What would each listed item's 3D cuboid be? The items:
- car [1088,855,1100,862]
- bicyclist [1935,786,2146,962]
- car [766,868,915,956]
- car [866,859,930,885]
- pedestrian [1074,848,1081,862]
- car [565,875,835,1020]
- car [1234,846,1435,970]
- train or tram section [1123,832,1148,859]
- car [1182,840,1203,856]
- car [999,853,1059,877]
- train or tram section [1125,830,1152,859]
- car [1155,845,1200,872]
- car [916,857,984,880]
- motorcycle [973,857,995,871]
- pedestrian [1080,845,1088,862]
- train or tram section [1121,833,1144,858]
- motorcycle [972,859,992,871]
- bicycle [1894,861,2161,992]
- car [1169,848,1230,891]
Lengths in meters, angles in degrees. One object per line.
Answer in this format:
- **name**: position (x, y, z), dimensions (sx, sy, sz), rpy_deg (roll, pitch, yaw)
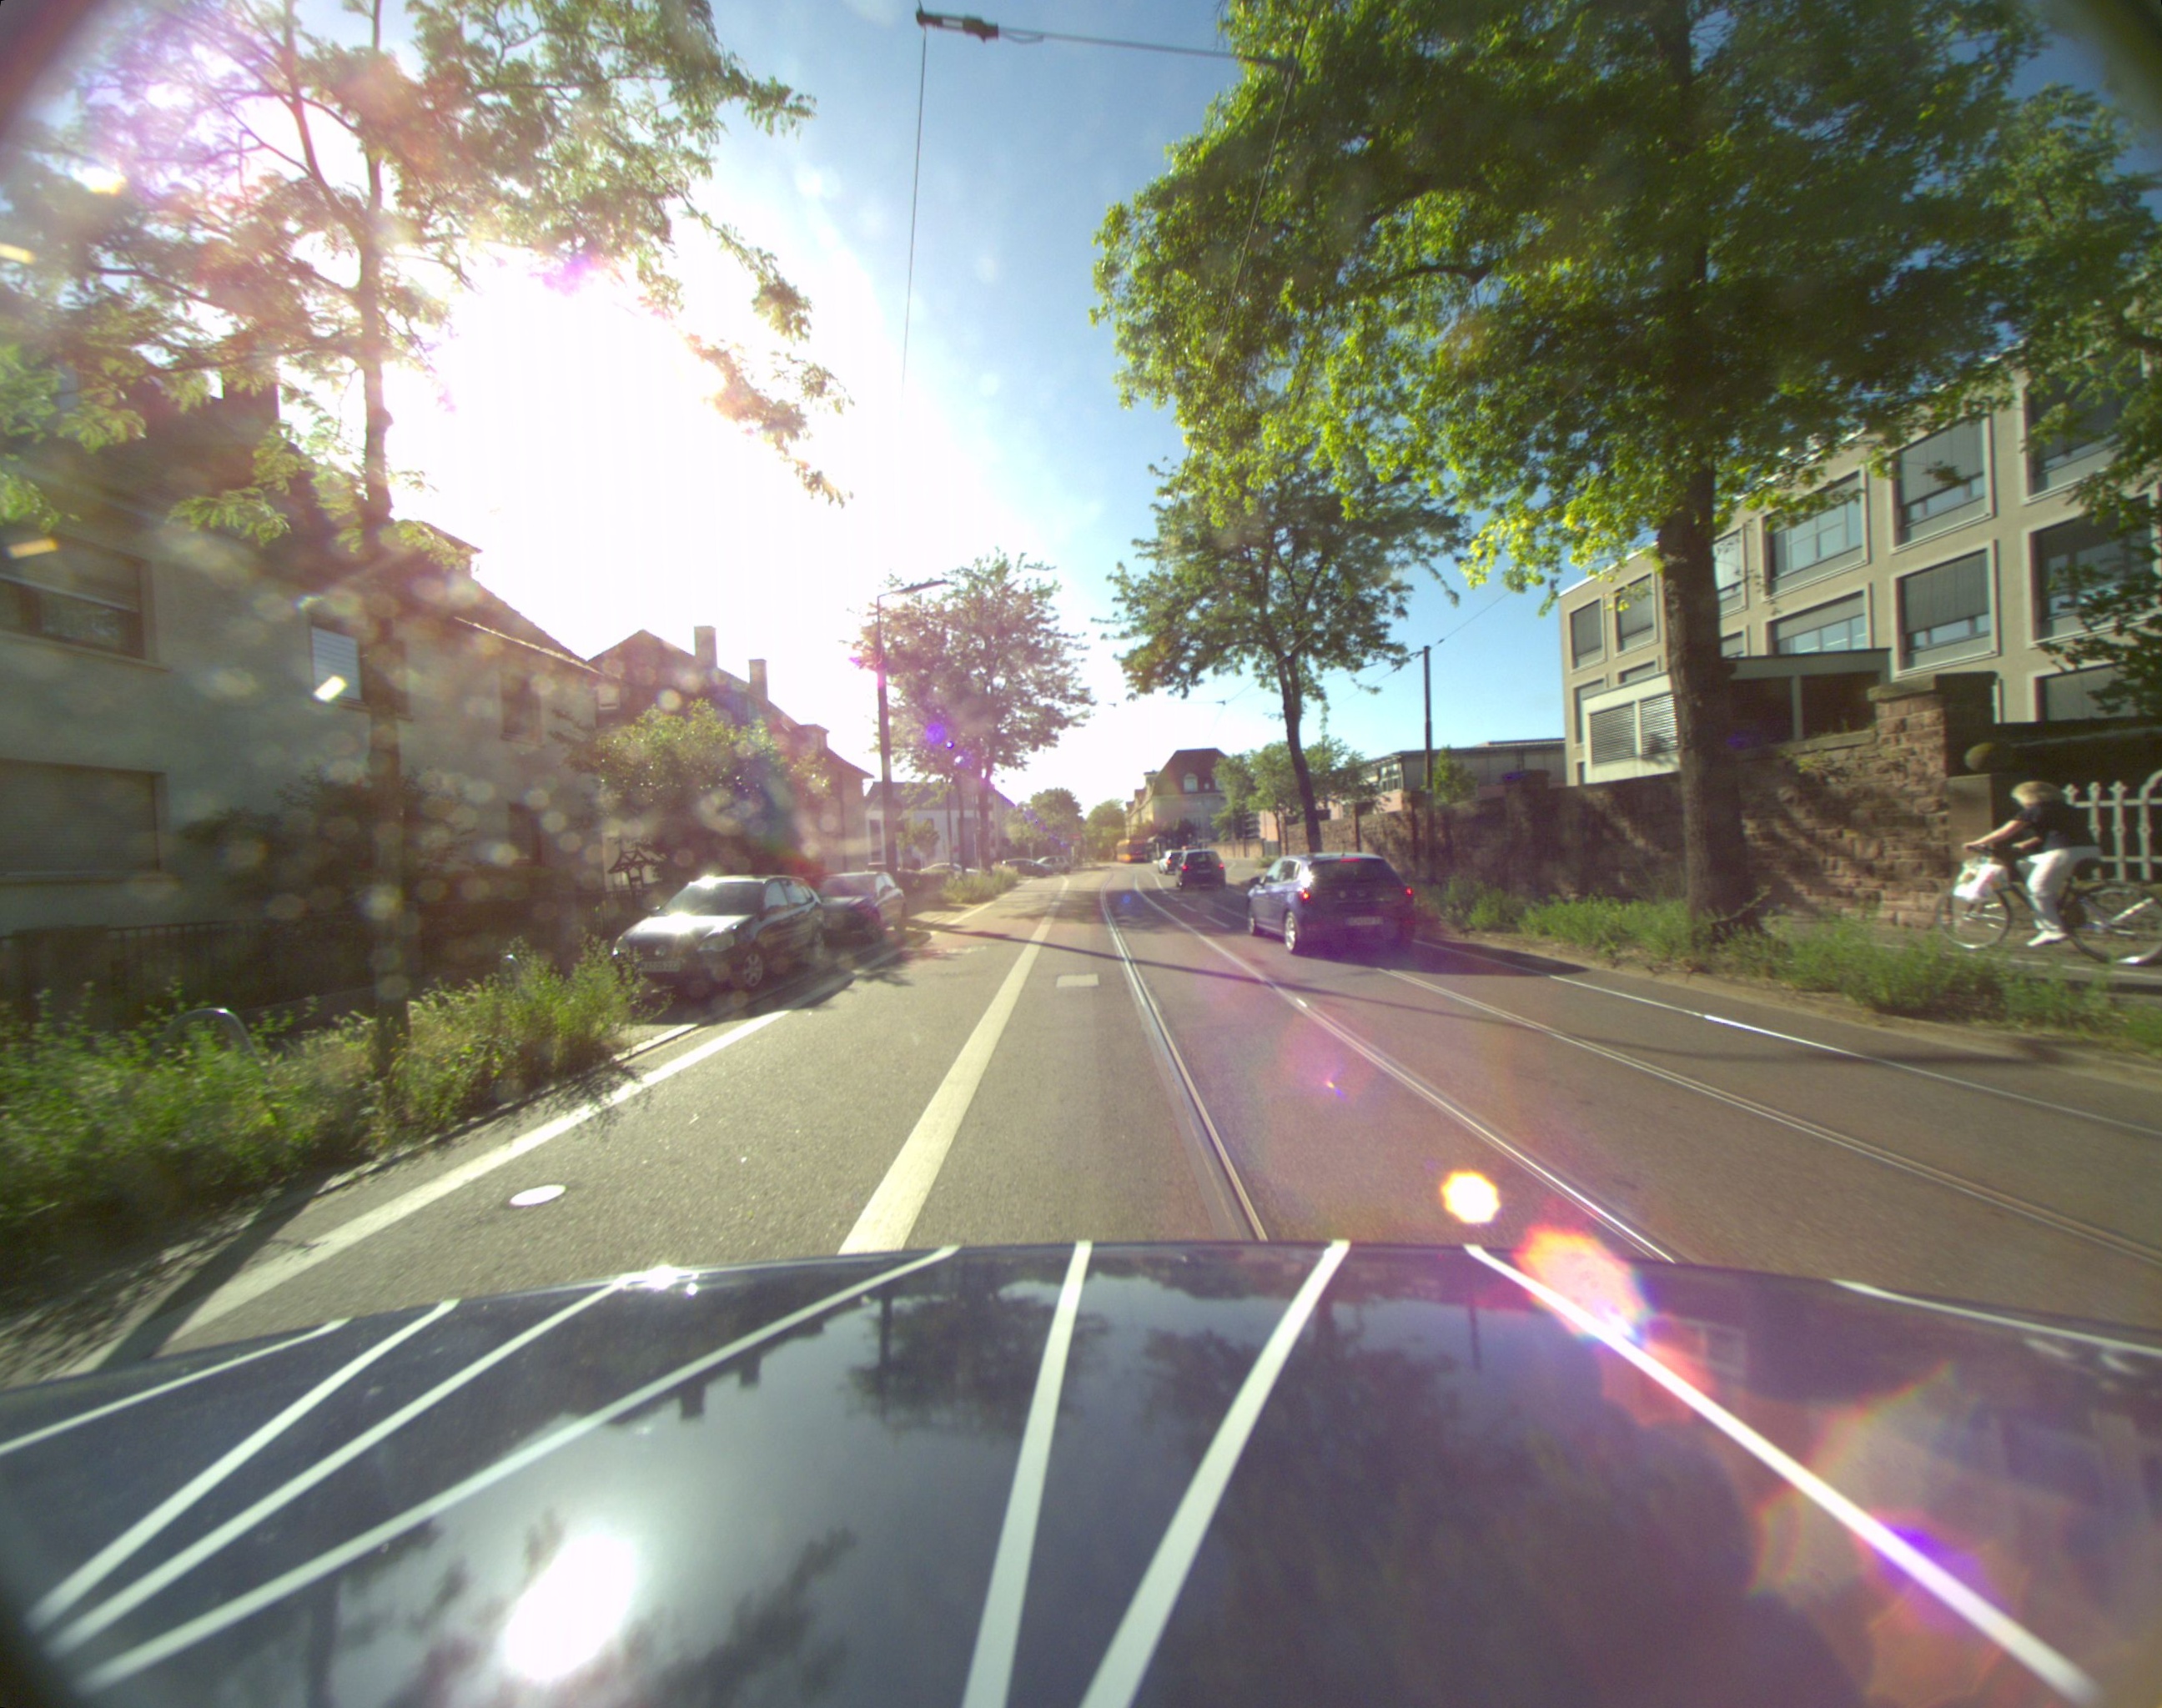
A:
- **car**: position (2.581, 0.902, 153.639), dimensions (1.743, 1.450, 3.691), rpy_deg (-3, 0, -8)
- **bicyclist**: position (8.999, 0.170, 7.175), dimensions (0.711, 1.490, 0.956), rpy_deg (-5, 1, 1)
- **car**: position (-5.009, 1.135, 16.515), dimensions (1.753, 1.486, 4.443), rpy_deg (-2, 0, 0)
- **car**: position (-13.325, 1.287, 55.546), dimensions (4.173, 1.632, 1.982), rpy_deg (-4, 1, -1)
- **pedestrian**: position (-0.433, 0.081, 96.500), dimensions (0.673, 1.694, 0.690), rpy_deg (-5, 1, -1)
- **car**: position (-5.059, 1.141, 10.806), dimensions (1.753, 1.486, 3.996), rpy_deg (-2, 0, 0)
- **car**: position (3.723, 0.689, 11.959), dimensions (1.753, 1.515, 4.069), rpy_deg (-3, 0, 0)
- **train or tram section**: position (7.444, -1.189, 104.535), dimensions (2.811, 3.439, 6.668), rpy_deg (-4, 0, 0)
- **car**: position (14.420, -0.759, 98.383), dimensions (1.998, 1.954, 4.934), rpy_deg (-3, 0, 1)
- **car**: position (-3.829, 0.786, 56.086), dimensions (3.994, 1.499, 1.983), rpy_deg (-3, 1, 10)
- **train or tram section**: position (7.389, -1.172, 97.841), dimensions (2.811, 3.439, 6.668), rpy_deg (-4, 0, 0)
- **car**: position (6.009, 0.274, 47.820), dimensions (1.999, 1.515, 4.578), rpy_deg (-3, 0, -2)
- **car**: position (-9.902, 1.084, 57.612), dimensions (4.611, 1.458, 1.983), rpy_deg (-3, 2, 12)
- **motorcycle**: position (-9.953, 1.031, 78.022), dimensions (2.083, 1.267, 0.861), rpy_deg (-3, 1, -6)
- **pedestrian**: position (0.360, -0.009, 85.499), dimensions (0.712, 1.843, 0.729), rpy_deg (-5, 1, 2)
- **train or tram section**: position (7.498, -1.205, 111.198), dimensions (2.811, 3.439, 6.668), rpy_deg (-4, 0, 0)
- **motorcycle**: position (-9.958, 1.120, 76.525), dimensions (2.004, 1.151, 0.861), rpy_deg (-3, 1, -6)
- **bicycle**: position (9.037, 0.602, 7.148), dimensions (0.720, 0.968, 1.888), rpy_deg (-5, 1, 1)
- **car**: position (4.683, 0.578, 30.605), dimensions (1.753, 1.515, 4.035), rpy_deg (-3, 0, 0)
